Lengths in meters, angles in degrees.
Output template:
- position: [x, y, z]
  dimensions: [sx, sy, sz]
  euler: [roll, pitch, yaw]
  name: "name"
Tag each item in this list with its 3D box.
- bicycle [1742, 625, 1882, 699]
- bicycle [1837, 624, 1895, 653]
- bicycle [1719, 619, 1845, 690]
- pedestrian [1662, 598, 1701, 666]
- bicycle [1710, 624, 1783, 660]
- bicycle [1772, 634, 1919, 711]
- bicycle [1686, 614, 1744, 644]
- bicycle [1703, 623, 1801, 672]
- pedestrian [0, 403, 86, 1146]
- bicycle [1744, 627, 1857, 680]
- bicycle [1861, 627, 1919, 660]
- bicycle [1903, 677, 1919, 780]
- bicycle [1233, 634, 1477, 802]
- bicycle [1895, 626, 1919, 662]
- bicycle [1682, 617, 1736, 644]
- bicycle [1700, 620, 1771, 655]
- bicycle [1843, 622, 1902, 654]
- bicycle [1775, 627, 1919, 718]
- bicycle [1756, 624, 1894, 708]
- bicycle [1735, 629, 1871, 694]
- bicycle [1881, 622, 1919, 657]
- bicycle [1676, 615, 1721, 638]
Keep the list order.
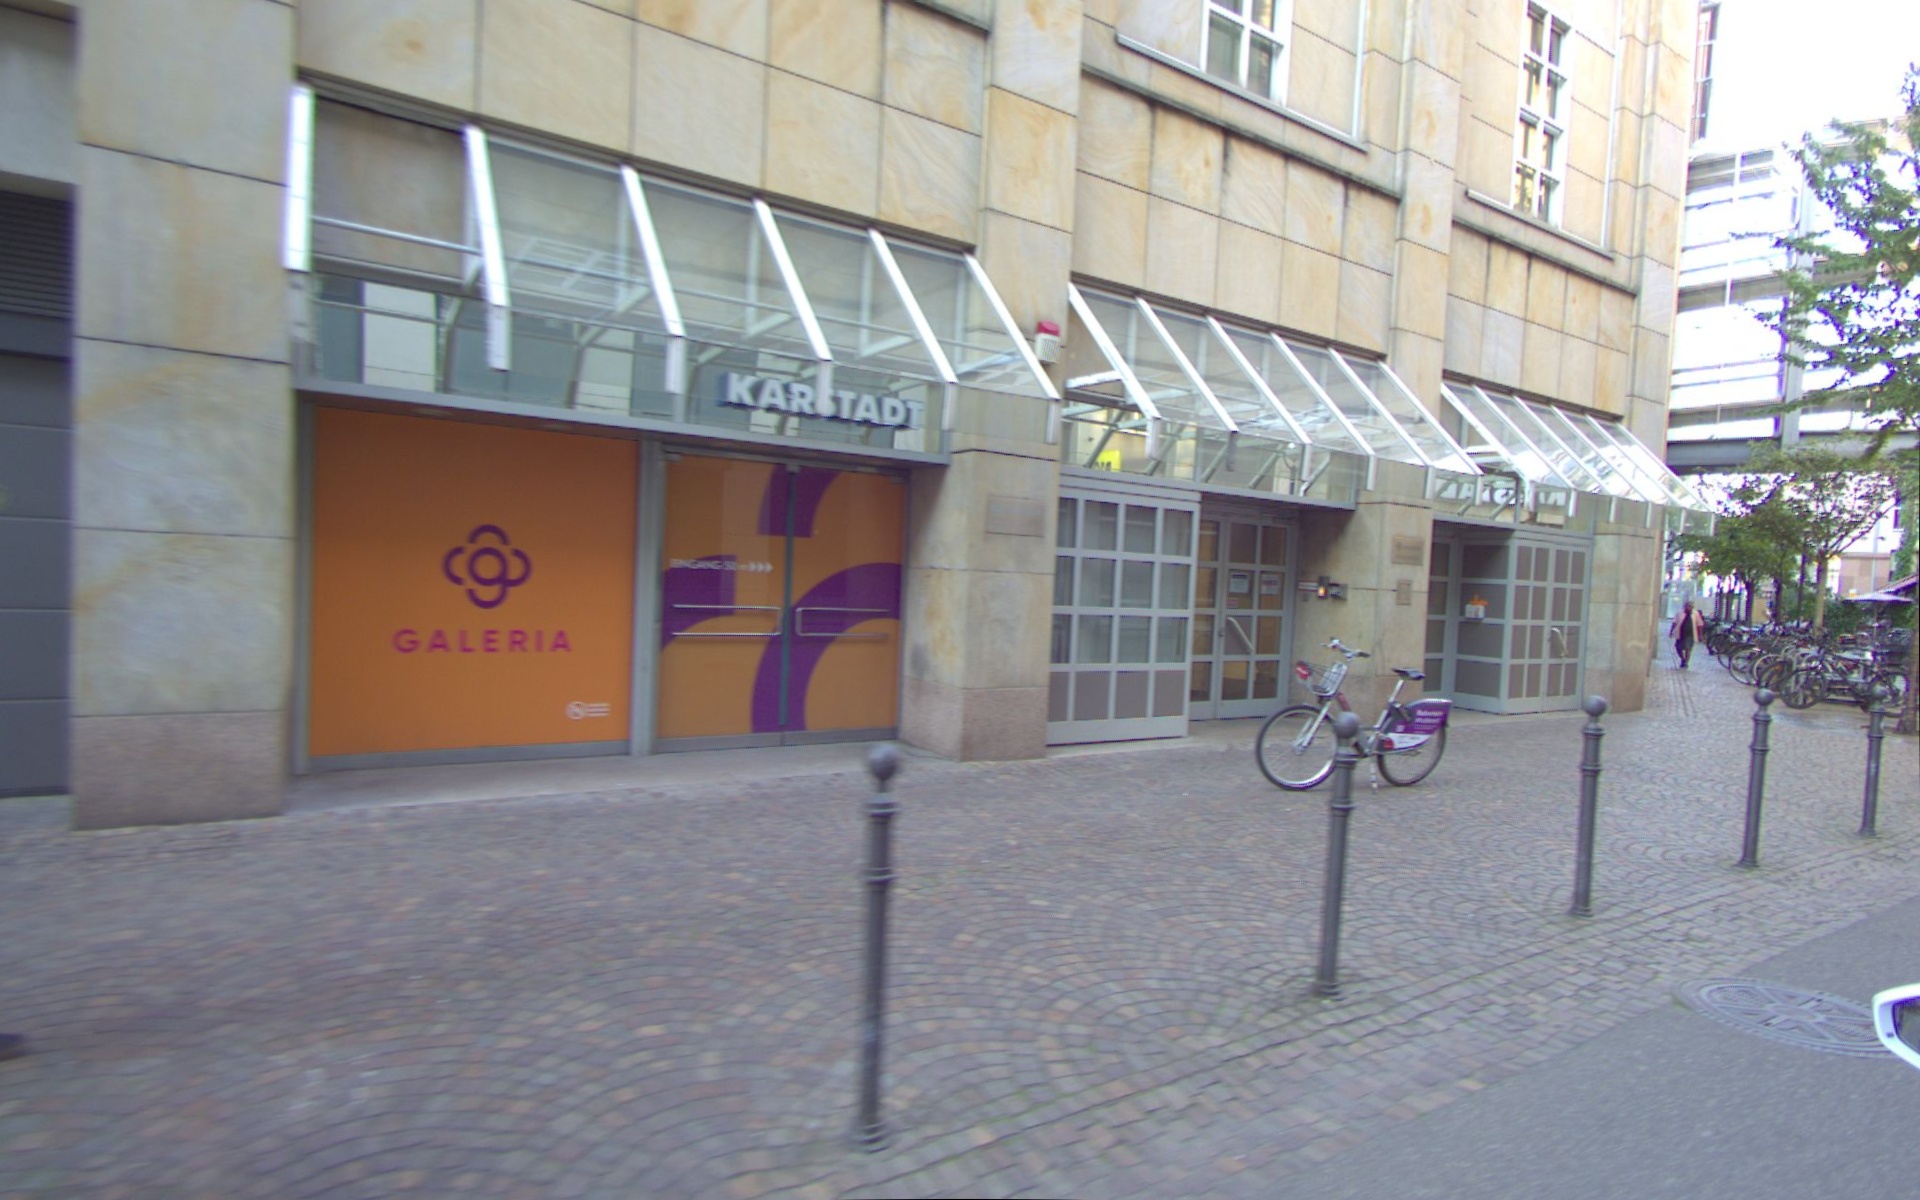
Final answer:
- position: [15.431, 1.096, 18.248]
  dimensions: [1.847, 1.193, 0.532]
  euler: [2, 1, 34]
  name: "bicycle"
- position: [38.858, 1.648, 43.117]
  dimensions: [1.750, 1.093, 0.584]
  euler: [3, 2, 37]
  name: "bicycle"
- position: [15.982, 1.039, 19.588]
  dimensions: [1.808, 1.241, 0.532]
  euler: [2, 1, 34]
  name: "bicycle"
- position: [17.624, 0.765, 24.545]
  dimensions: [0.688, 1.604, 0.717]
  euler: [3, 1, 34]
  name: "pedestrian"
- position: [24.764, 1.313, 31.661]
  dimensions: [1.755, 1.033, 0.479]
  euler: [2, 1, 34]
  name: "bicycle"
- position: [15.045, 1.207, 17.106]
  dimensions: [1.811, 1.137, 0.532]
  euler: [2, 1, 34]
  name: "bicycle"
- position: [31.469, 1.210, 41.891]
  dimensions: [1.878, 1.127, 0.479]
  euler: [2, 1, 34]
  name: "bicycle"
- position: [19.305, 1.143, 24.536]
  dimensions: [1.800, 1.057, 0.532]
  euler: [2, 1, 34]
  name: "bicycle"
- position: [-2.879, 0.413, 2.518]
  dimensions: [0.963, 1.819, 0.779]
  euler: [1, 2, -37]
  name: "pedestrian"
- position: [18.654, 1.170, 22.344]
  dimensions: [1.851, 1.057, 0.532]
  euler: [2, 1, 34]
  name: "bicycle"
- position: [35.064, 1.620, 37.703]
  dimensions: [1.752, 1.129, 0.540]
  euler: [3, 2, 39]
  name: "bicycle"
- position: [9.802, 1.239, 9.530]
  dimensions: [1.633, 0.951, 0.492]
  euler: [2, 3, -19]
  name: "bicycle"
- position: [2.976, 0.863, 7.570]
  dimensions: [1.736, 1.153, 0.521]
  euler: [2, 1, -18]
  name: "bicycle"
- position: [31.584, 1.456, 32.555]
  dimensions: [1.750, 1.129, 0.541]
  euler: [3, 2, 37]
  name: "bicycle"
- position: [33.949, 1.361, 45.550]
  dimensions: [1.878, 1.127, 0.479]
  euler: [2, 1, 34]
  name: "bicycle"
- position: [25.138, 1.192, 32.608]
  dimensions: [1.755, 1.033, 0.479]
  euler: [2, 1, 34]
  name: "bicycle"
- position: [38.292, 1.591, 42.174]
  dimensions: [1.750, 1.206, 0.584]
  euler: [3, 2, 37]
  name: "bicycle"
- position: [13.628, 1.079, 15.345]
  dimensions: [1.742, 1.247, 0.532]
  euler: [2, 1, 34]
  name: "bicycle"
- position: [14.293, 1.068, 16.651]
  dimensions: [1.631, 1.247, 0.532]
  euler: [2, 1, 34]
  name: "bicycle"
- position: [15.711, 1.130, 18.779]
  dimensions: [1.868, 1.066, 0.532]
  euler: [2, 1, 34]
  name: "bicycle"
- position: [32.631, 1.372, 34.222]
  dimensions: [1.750, 1.129, 0.541]
  euler: [3, 2, 37]
  name: "bicycle"
- position: [39.672, 1.397, 53.975]
  dimensions: [1.877, 1.127, 0.480]
  euler: [2, 1, 33]
  name: "bicycle"
